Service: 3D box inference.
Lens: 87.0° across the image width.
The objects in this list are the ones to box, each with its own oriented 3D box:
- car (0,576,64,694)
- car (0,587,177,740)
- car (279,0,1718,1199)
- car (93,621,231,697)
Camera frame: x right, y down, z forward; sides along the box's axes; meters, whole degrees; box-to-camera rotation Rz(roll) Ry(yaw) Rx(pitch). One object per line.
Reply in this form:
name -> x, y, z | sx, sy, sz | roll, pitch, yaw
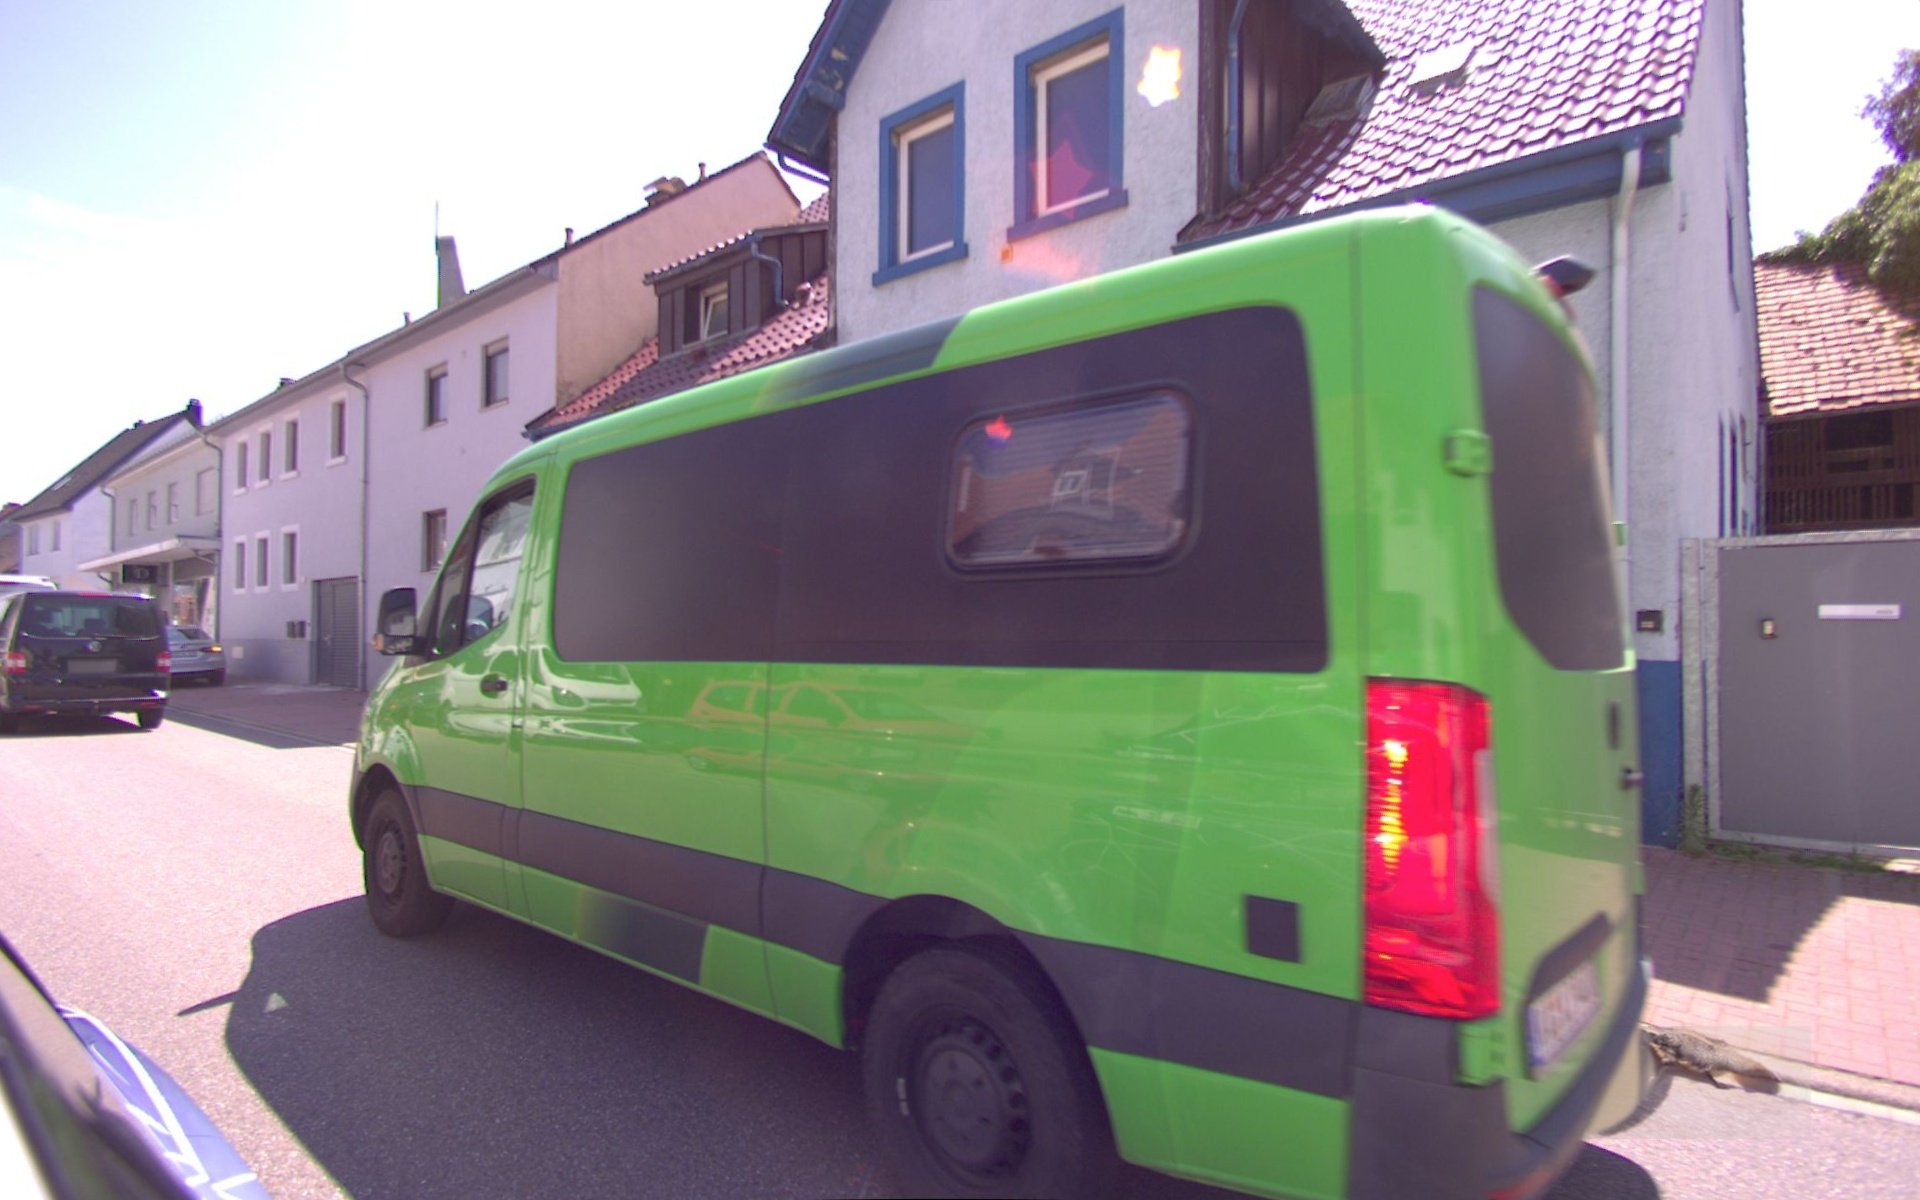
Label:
car -> -23.025, 0.825, 23.775 | 5.457, 2.562, 2.103 | -2, -3, 40
car -> -13.658, 0.898, 15.302 | 5.115, 1.958, 1.861 | -2, -3, 41
car -> -0.712, 0.343, 4.256 | 6.078, 2.372, 2.029 | -2, -3, 41
car -> -19.089, 1.343, 24.129 | 4.563, 1.569, 1.789 | -2, 0, 42
